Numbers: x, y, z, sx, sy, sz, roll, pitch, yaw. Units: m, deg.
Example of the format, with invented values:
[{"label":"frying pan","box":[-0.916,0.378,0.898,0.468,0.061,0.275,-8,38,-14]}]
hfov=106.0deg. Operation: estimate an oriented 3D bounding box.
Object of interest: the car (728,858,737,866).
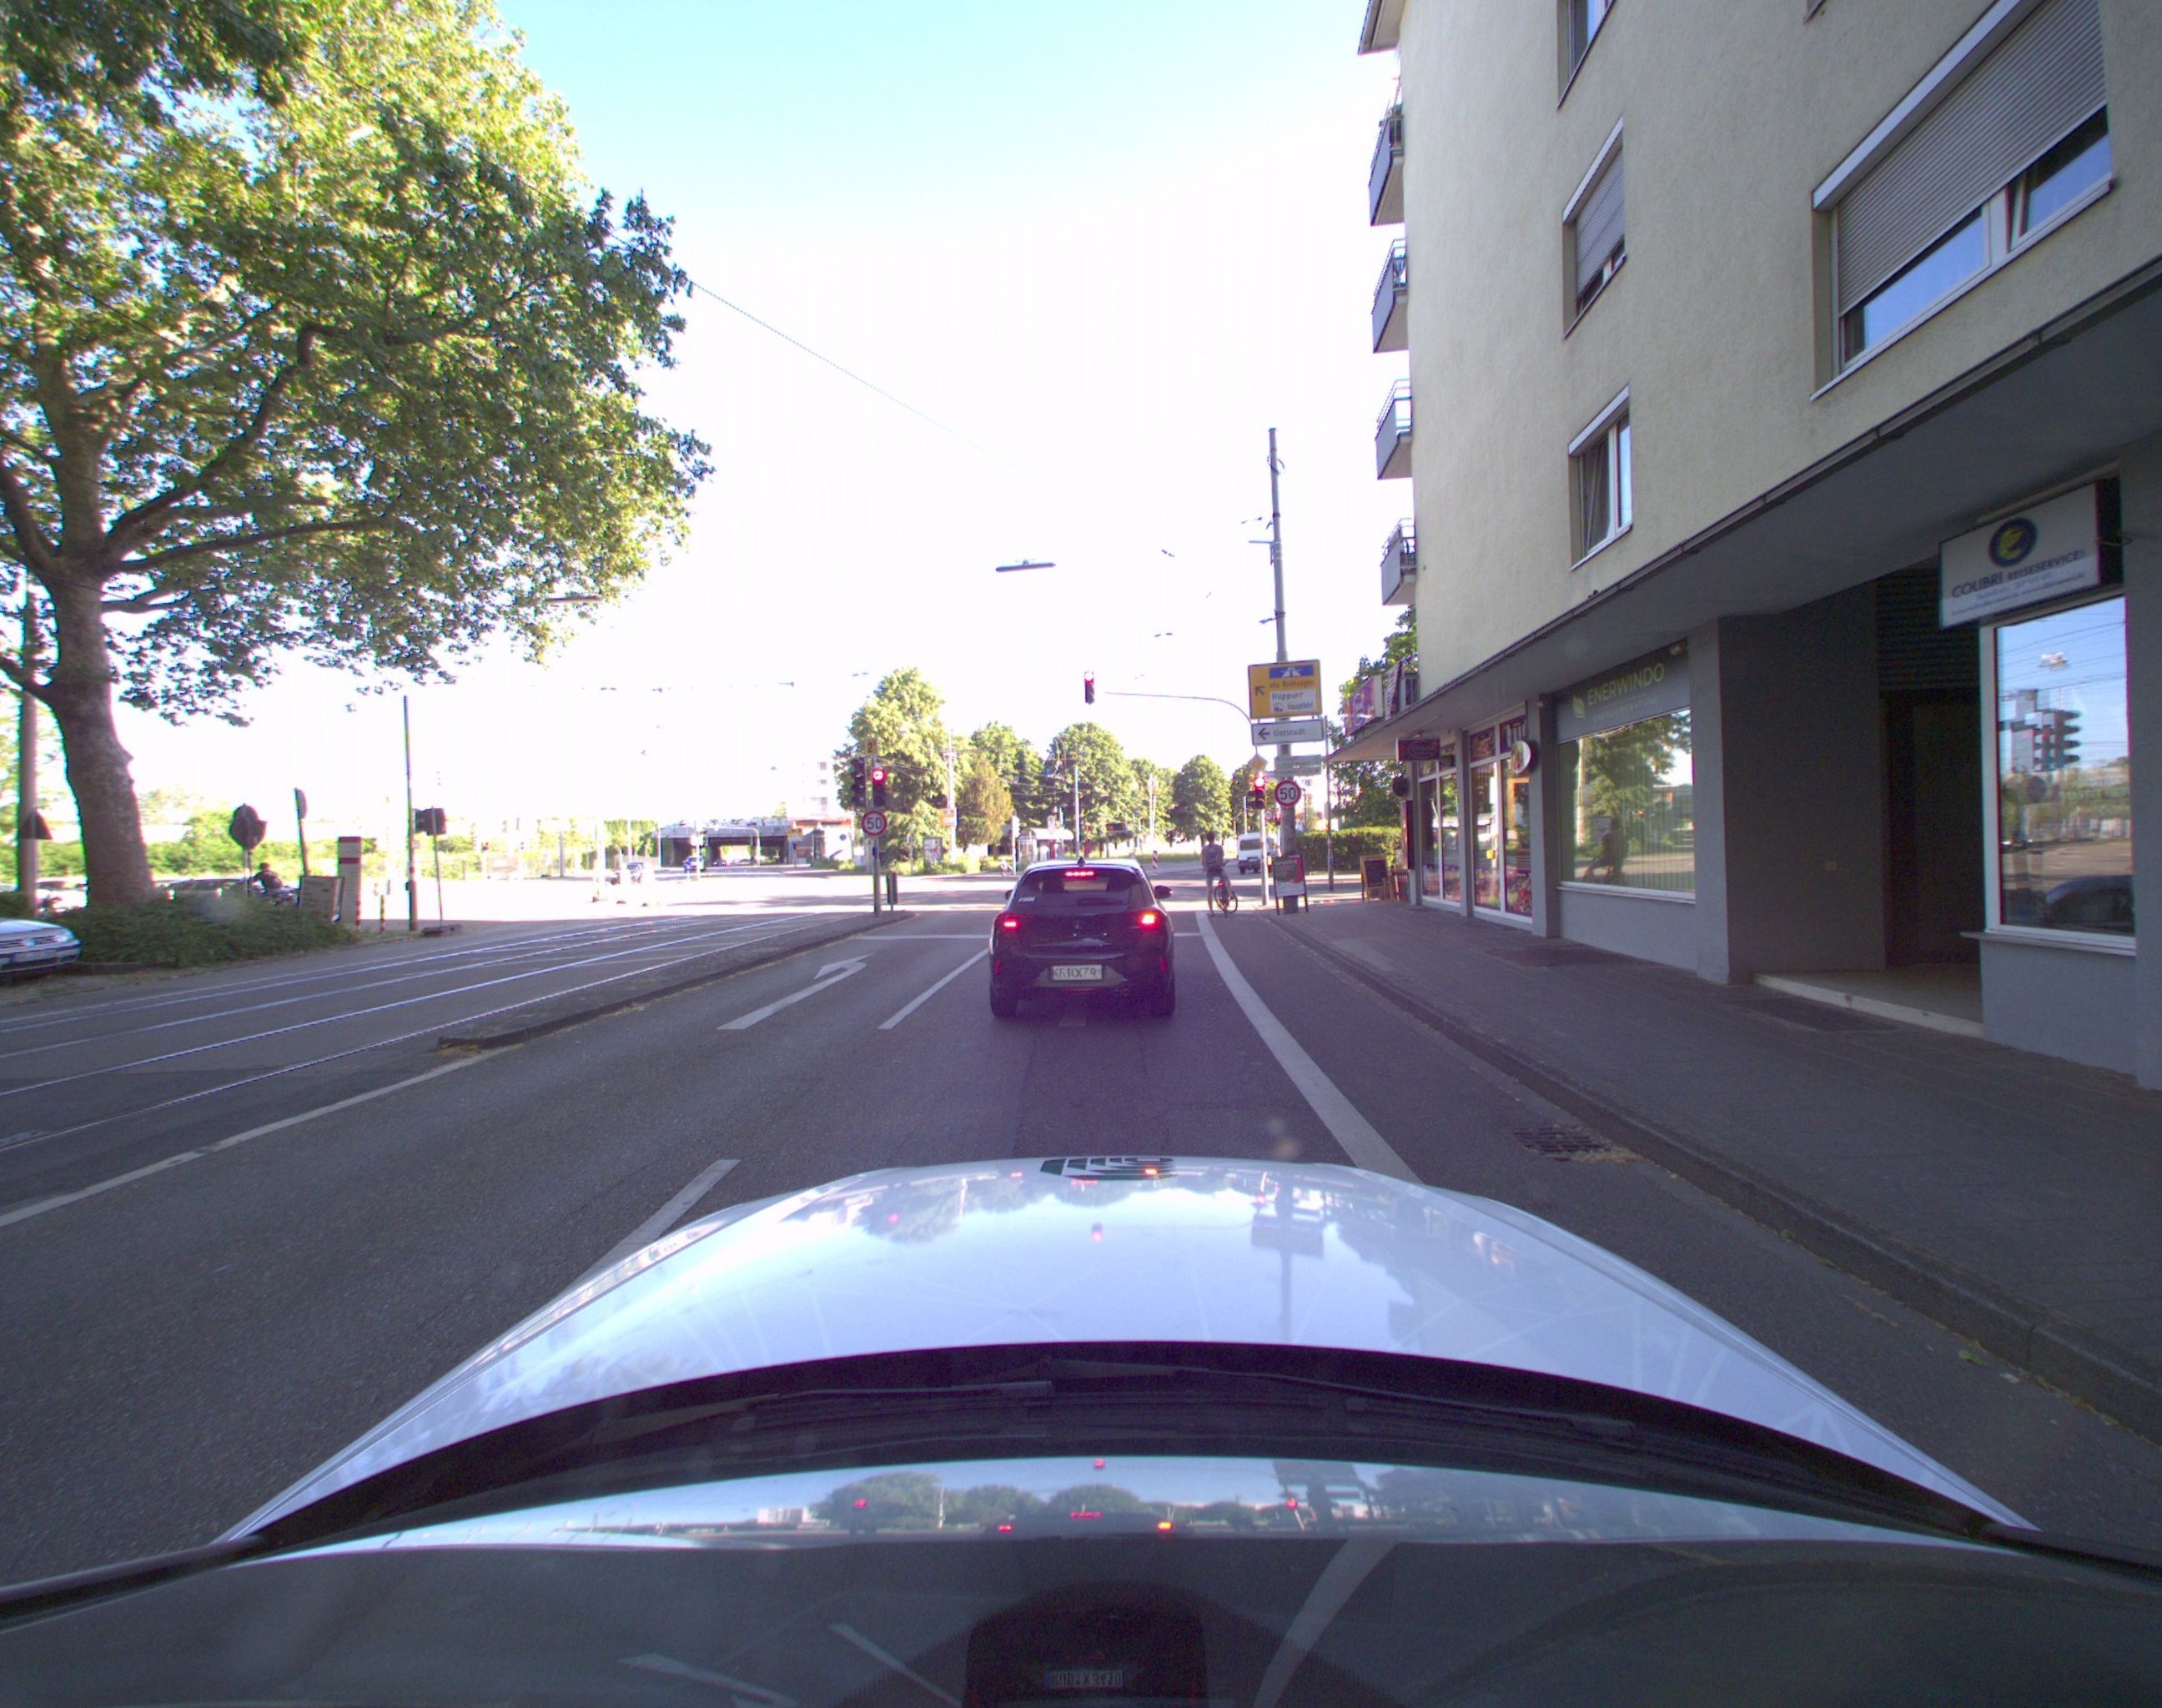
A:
[{"label":"car","box":[-90.798,2.011,212.345,2.004,1.947,4.461,-2,0,-26]}]

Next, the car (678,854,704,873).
[{"label":"car","box":[-40.292,0.942,84.050,2.225,1.823,4.110,-2,0,-27]}]

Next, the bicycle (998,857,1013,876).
[{"label":"bicycle","box":[-4.306,0.727,46.733,0.603,1.031,1.983,-2,0,2]}]

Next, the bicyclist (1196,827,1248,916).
[{"label":"bicyclist","box":[3.044,0.372,17.683,0.938,1.851,0.864,-2,0,1]}]

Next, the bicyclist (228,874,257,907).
[{"label":"bicyclist","box":[-42.624,1.840,41.395,0.866,1.595,0.643,-2,0,-30]}]

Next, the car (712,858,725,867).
[{"label":"car","box":[-64.746,1.546,145.509,2.003,1.602,4.213,-2,0,-24]}]

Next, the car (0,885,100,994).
[{"label":"car","box":[-16.960,1.199,11.358,4.497,1.429,1.676,0,0,0]}]

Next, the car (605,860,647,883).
[{"label":"car","box":[-31.287,1.159,56.097,1.830,1.519,3.870,0,0,-18]}]

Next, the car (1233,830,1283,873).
[{"label":"car","box":[10.145,-0.152,46.378,2.046,2.248,4.912,-2,0,20]}]

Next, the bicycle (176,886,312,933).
[{"label":"bicycle","box":[-21.004,1.374,20.503,2.199,1.033,0.828,-2,0,-21]}]

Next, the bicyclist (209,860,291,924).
[{"label":"bicyclist","box":[-20.896,0.934,20.512,1.117,1.520,0.915,-2,0,-21]}]

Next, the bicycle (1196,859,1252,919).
[{"label":"bicycle","box":[3.069,0.726,17.740,0.857,1.153,2.172,-2,0,1]}]

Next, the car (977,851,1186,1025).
[{"label":"car","box":[0.082,0.696,8.879,1.720,1.429,4.189,-1,0,2]}]

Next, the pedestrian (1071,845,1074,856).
[{"label":"pedestrian","box":[-1.185,-0.486,114.102,0.411,1.412,0.436,0,-1,1]}]
